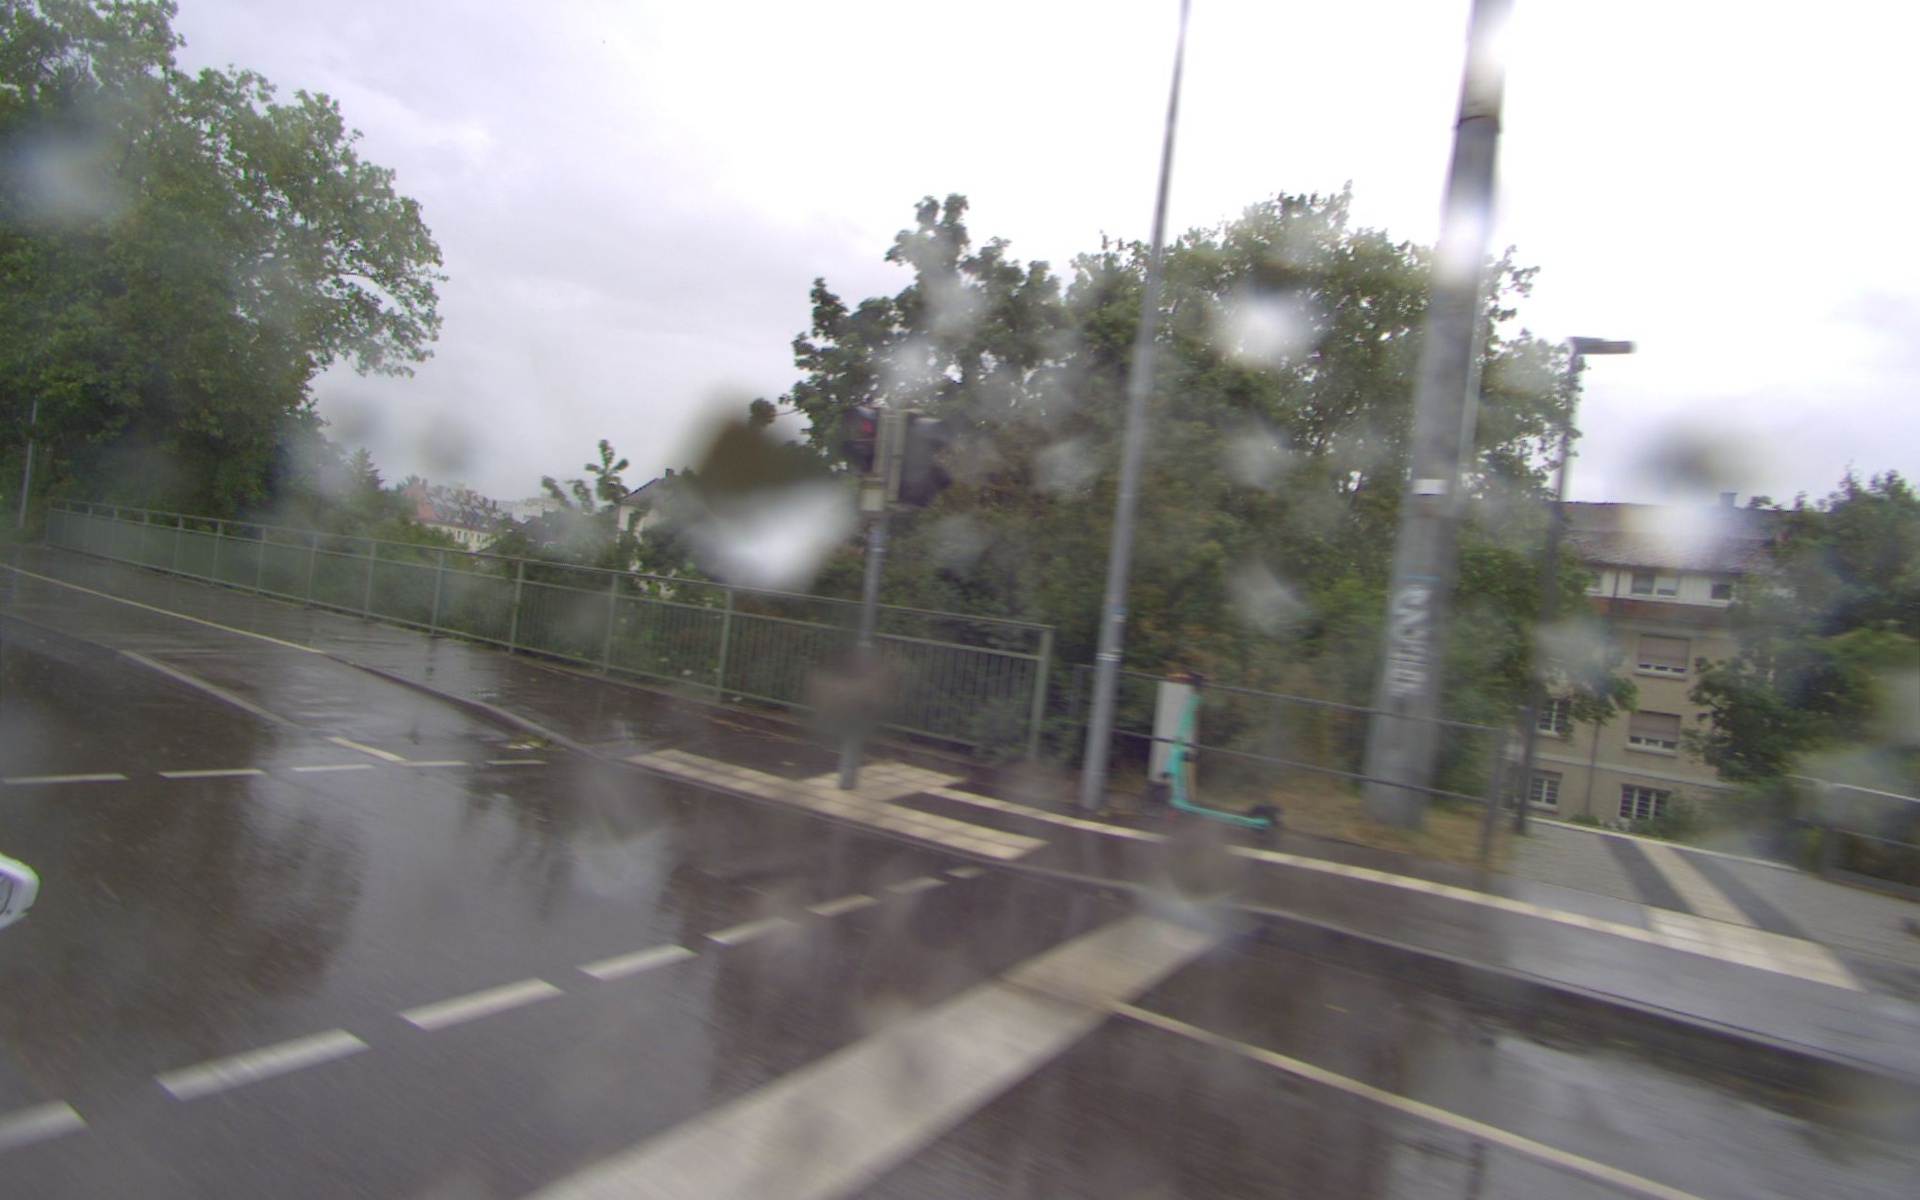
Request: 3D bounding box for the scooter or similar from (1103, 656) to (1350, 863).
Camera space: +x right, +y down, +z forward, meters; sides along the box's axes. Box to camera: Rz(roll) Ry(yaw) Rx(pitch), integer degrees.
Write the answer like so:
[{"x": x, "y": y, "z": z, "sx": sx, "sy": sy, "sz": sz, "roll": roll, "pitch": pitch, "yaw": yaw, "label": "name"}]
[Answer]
[{"x": 2.109, "y": 1.210, "z": 8.026, "sx": 1.621, "sy": 1.308, "sz": 0.760, "roll": 6, "pitch": -1, "yaw": 34, "label": "scooter or similar"}]
